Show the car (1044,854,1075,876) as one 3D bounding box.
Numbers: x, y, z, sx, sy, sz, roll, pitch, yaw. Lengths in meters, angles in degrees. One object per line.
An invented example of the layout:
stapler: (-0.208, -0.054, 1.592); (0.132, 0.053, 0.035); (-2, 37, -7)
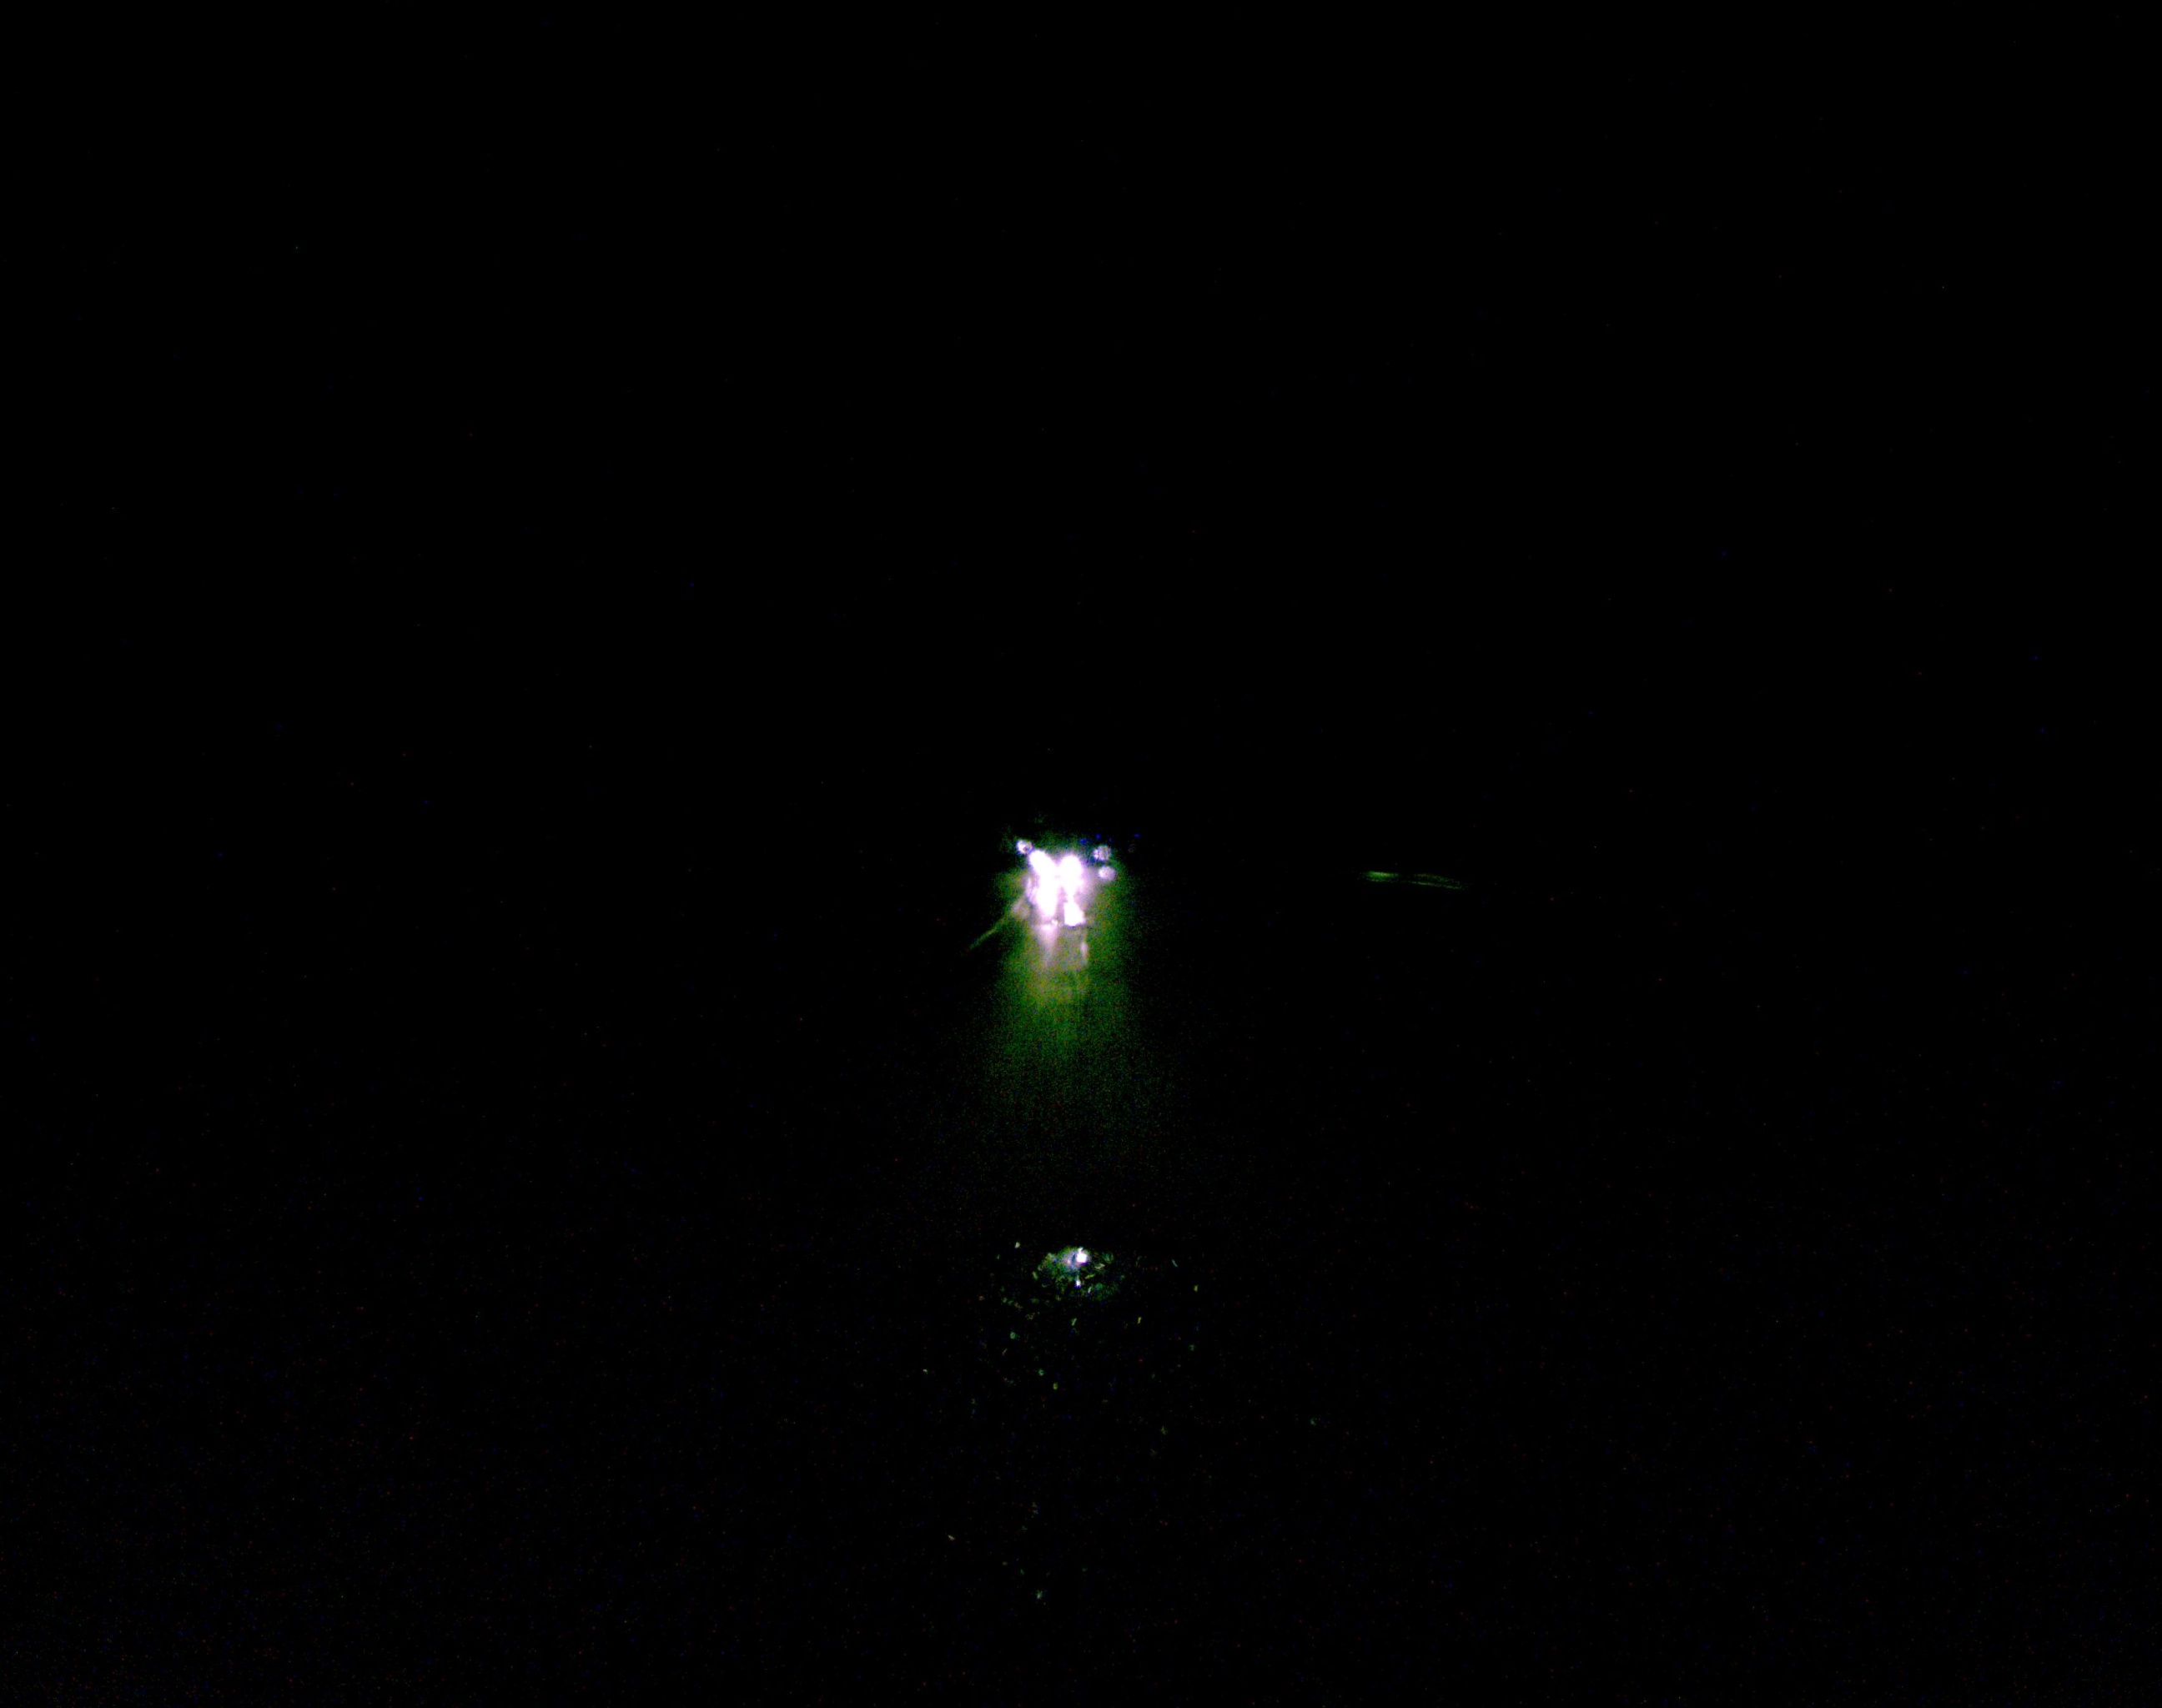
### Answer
car: (-1.576, 0.744, 53.709); (1.777, 1.444, 4.133); (-2, 0, -7)
